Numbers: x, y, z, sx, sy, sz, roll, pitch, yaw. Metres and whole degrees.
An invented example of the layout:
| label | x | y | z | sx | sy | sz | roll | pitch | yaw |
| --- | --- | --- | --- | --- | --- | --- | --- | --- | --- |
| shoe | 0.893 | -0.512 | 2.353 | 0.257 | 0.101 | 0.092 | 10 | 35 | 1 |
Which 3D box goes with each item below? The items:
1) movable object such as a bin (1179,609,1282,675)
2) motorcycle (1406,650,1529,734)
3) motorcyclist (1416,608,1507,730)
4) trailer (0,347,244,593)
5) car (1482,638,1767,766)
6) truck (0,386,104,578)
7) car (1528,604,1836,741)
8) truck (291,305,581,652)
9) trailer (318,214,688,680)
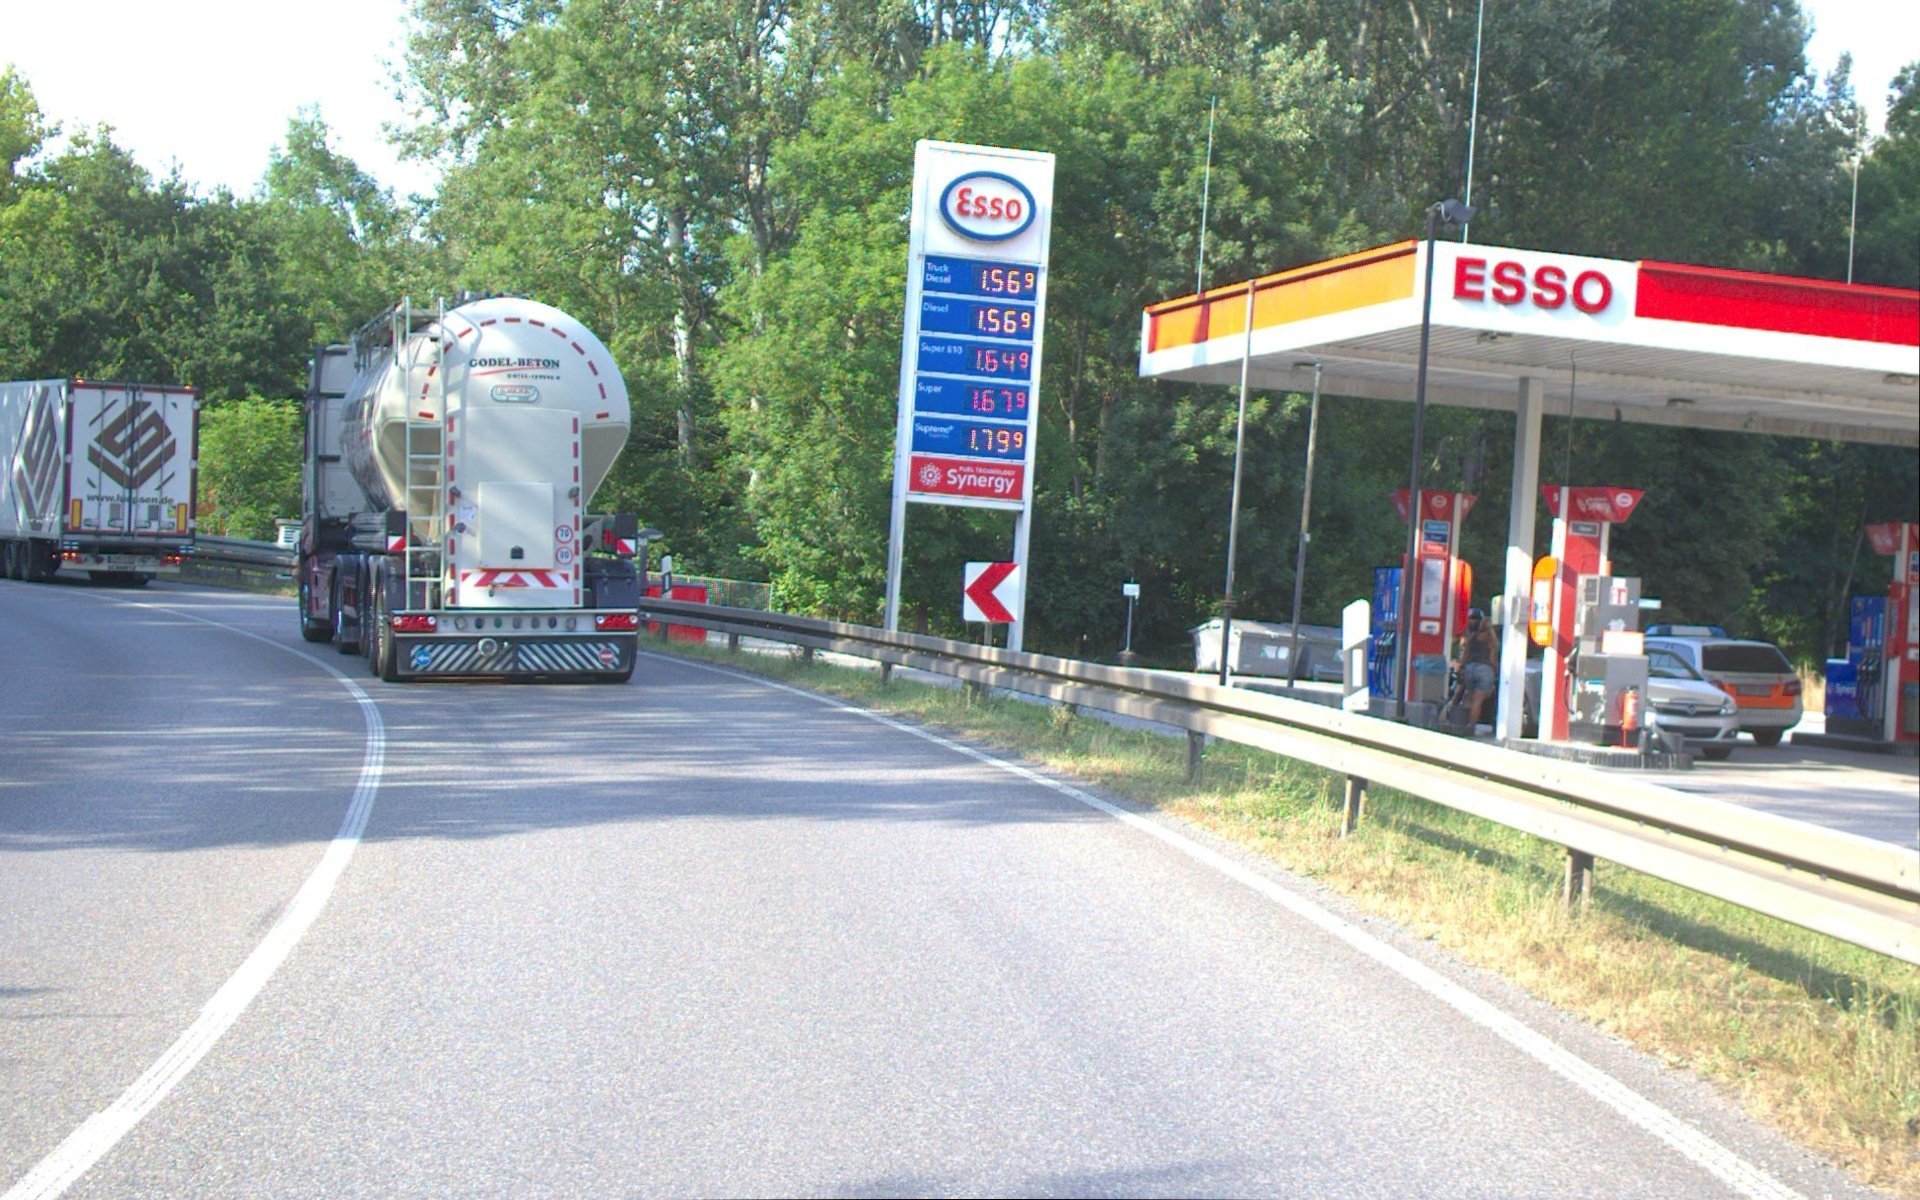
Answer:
| label | x | y | z | sx | sy | sz | roll | pitch | yaw |
| --- | --- | --- | --- | --- | --- | --- | --- | --- | --- |
| movable object such as a bin | 6.802 | 1.052 | 86.639 | 1.265 | 1.415 | 2.558 | 6 | -1 | -29 |
| motorcycle | 6.979 | 1.259 | 47.404 | 0.761 | 1.008 | 2.342 | 3 | 1 | -15 |
| motorcyclist | 6.944 | 0.948 | 47.637 | 0.858 | 1.599 | 0.928 | 4 | 0 | -15 |
| trailer | -18.646 | -2.718 | 71.676 | 3.545 | 4.497 | 12.987 | 3 | 1 | -28 |
| car | 8.459 | 1.275 | 44.168 | 1.842 | 1.315 | 4.391 | 3 | 1 | -14 |
| truck | -22.063 | -2.724 | 77.993 | 3.449 | 4.072 | 6.492 | 3 | 1 | -28 |
| car | 10.261 | 0.999 | 49.334 | 2.091 | 1.622 | 5.182 | 3 | 1 | -15 |
| truck | -6.656 | -1.484 | 43.000 | 2.823 | 4.021 | 5.896 | 0 | 2 | -16 |
| trailer | -5.283 | -1.579 | 37.980 | 2.886 | 4.439 | 9.609 | 1 | 1 | -14 |
